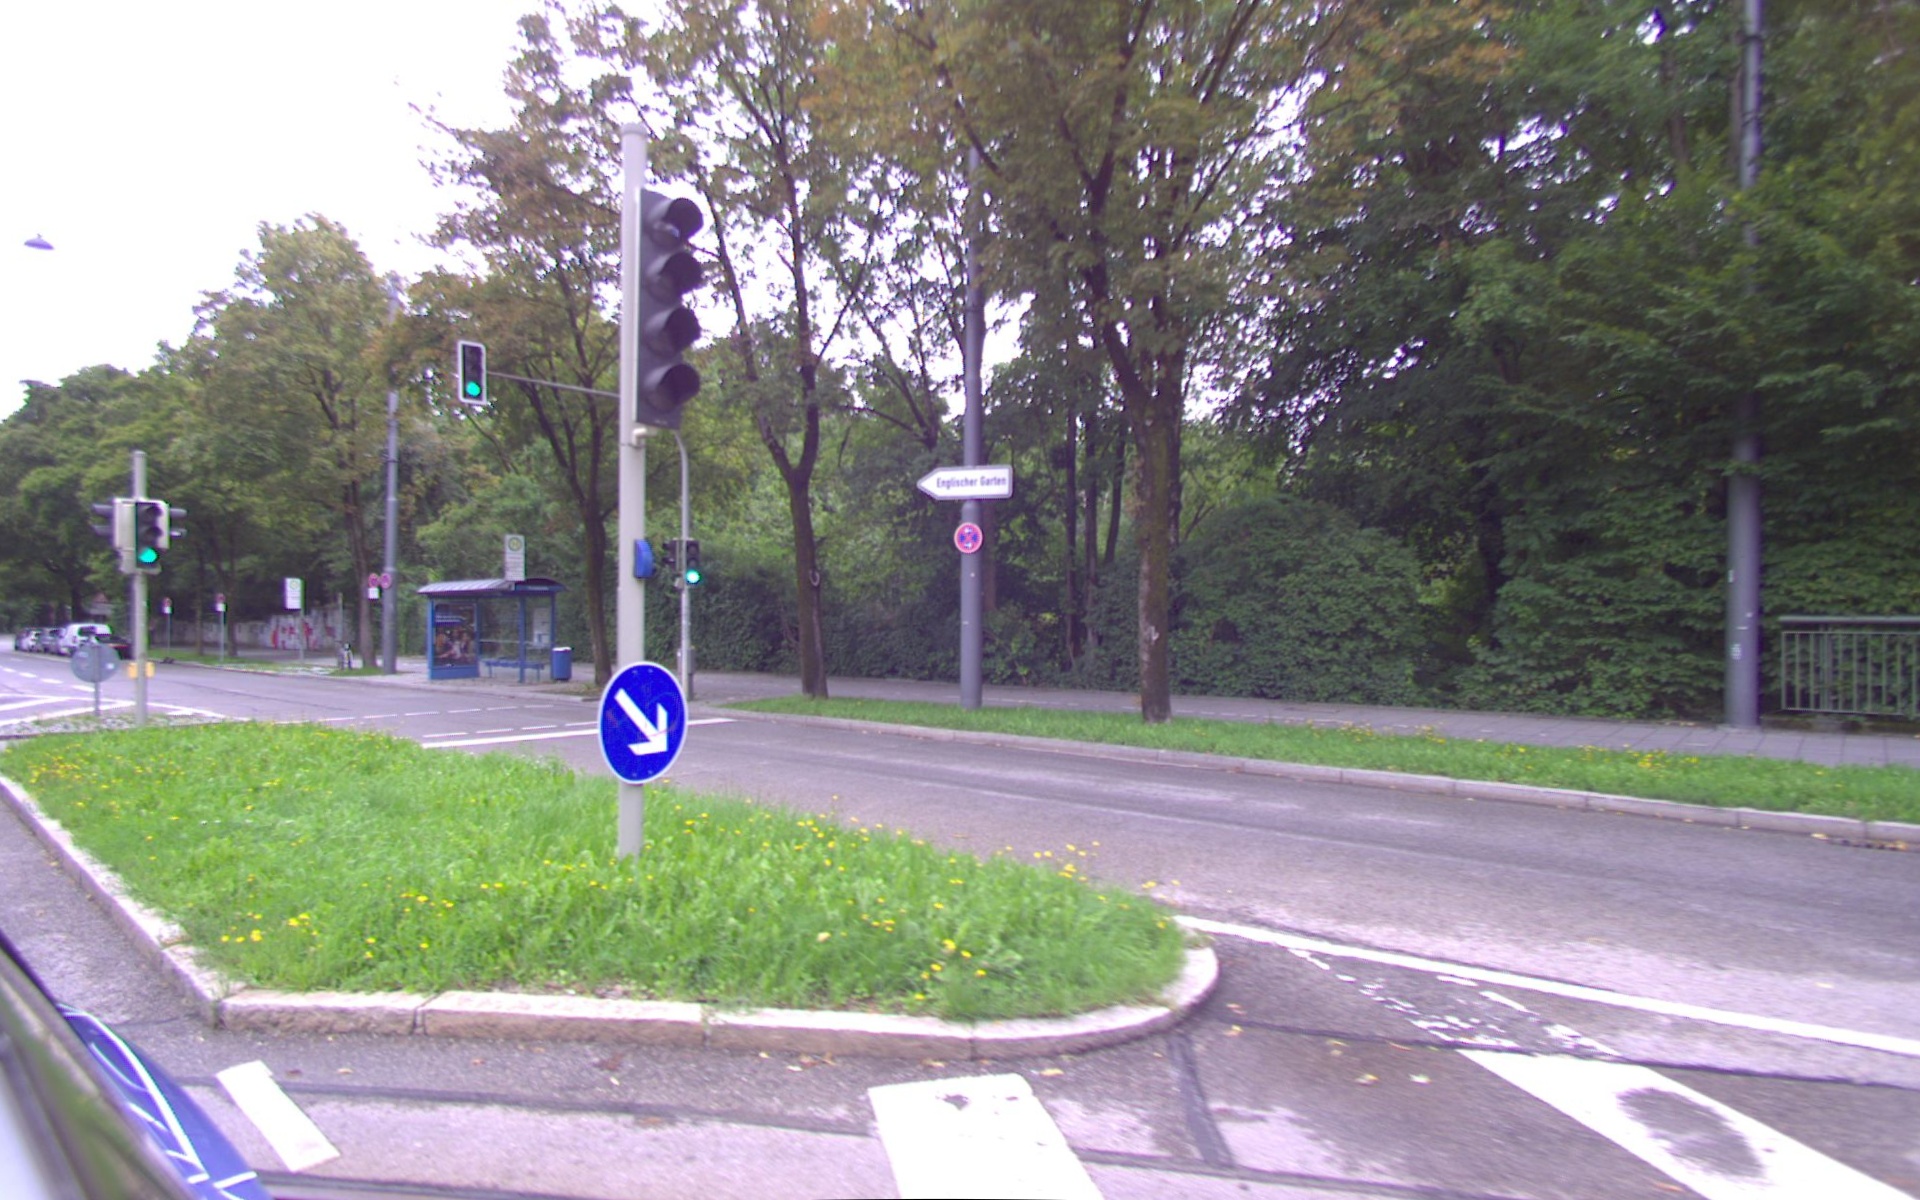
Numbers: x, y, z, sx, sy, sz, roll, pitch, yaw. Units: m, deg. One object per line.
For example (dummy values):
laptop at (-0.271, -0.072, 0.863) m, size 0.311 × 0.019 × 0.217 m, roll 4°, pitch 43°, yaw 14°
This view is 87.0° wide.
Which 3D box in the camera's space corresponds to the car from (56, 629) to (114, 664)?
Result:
car at (-47.627, 2.516, 55.043) m, size 3.998 × 1.739 × 1.863 m, roll -1°, pitch 0°, yaw 41°

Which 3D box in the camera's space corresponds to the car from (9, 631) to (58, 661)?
car at (-58.938, 2.897, 64.383) m, size 3.998 × 1.739 × 1.863 m, roll -1°, pitch 0°, yaw 41°

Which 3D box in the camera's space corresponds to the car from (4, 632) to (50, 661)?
car at (-62.656, 3.095, 67.936) m, size 3.998 × 1.739 × 1.863 m, roll -1°, pitch 0°, yaw 41°

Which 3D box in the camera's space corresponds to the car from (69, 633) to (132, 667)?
car at (-43.530, 2.515, 51.241) m, size 3.998 × 1.552 × 1.863 m, roll -1°, pitch 0°, yaw 41°
